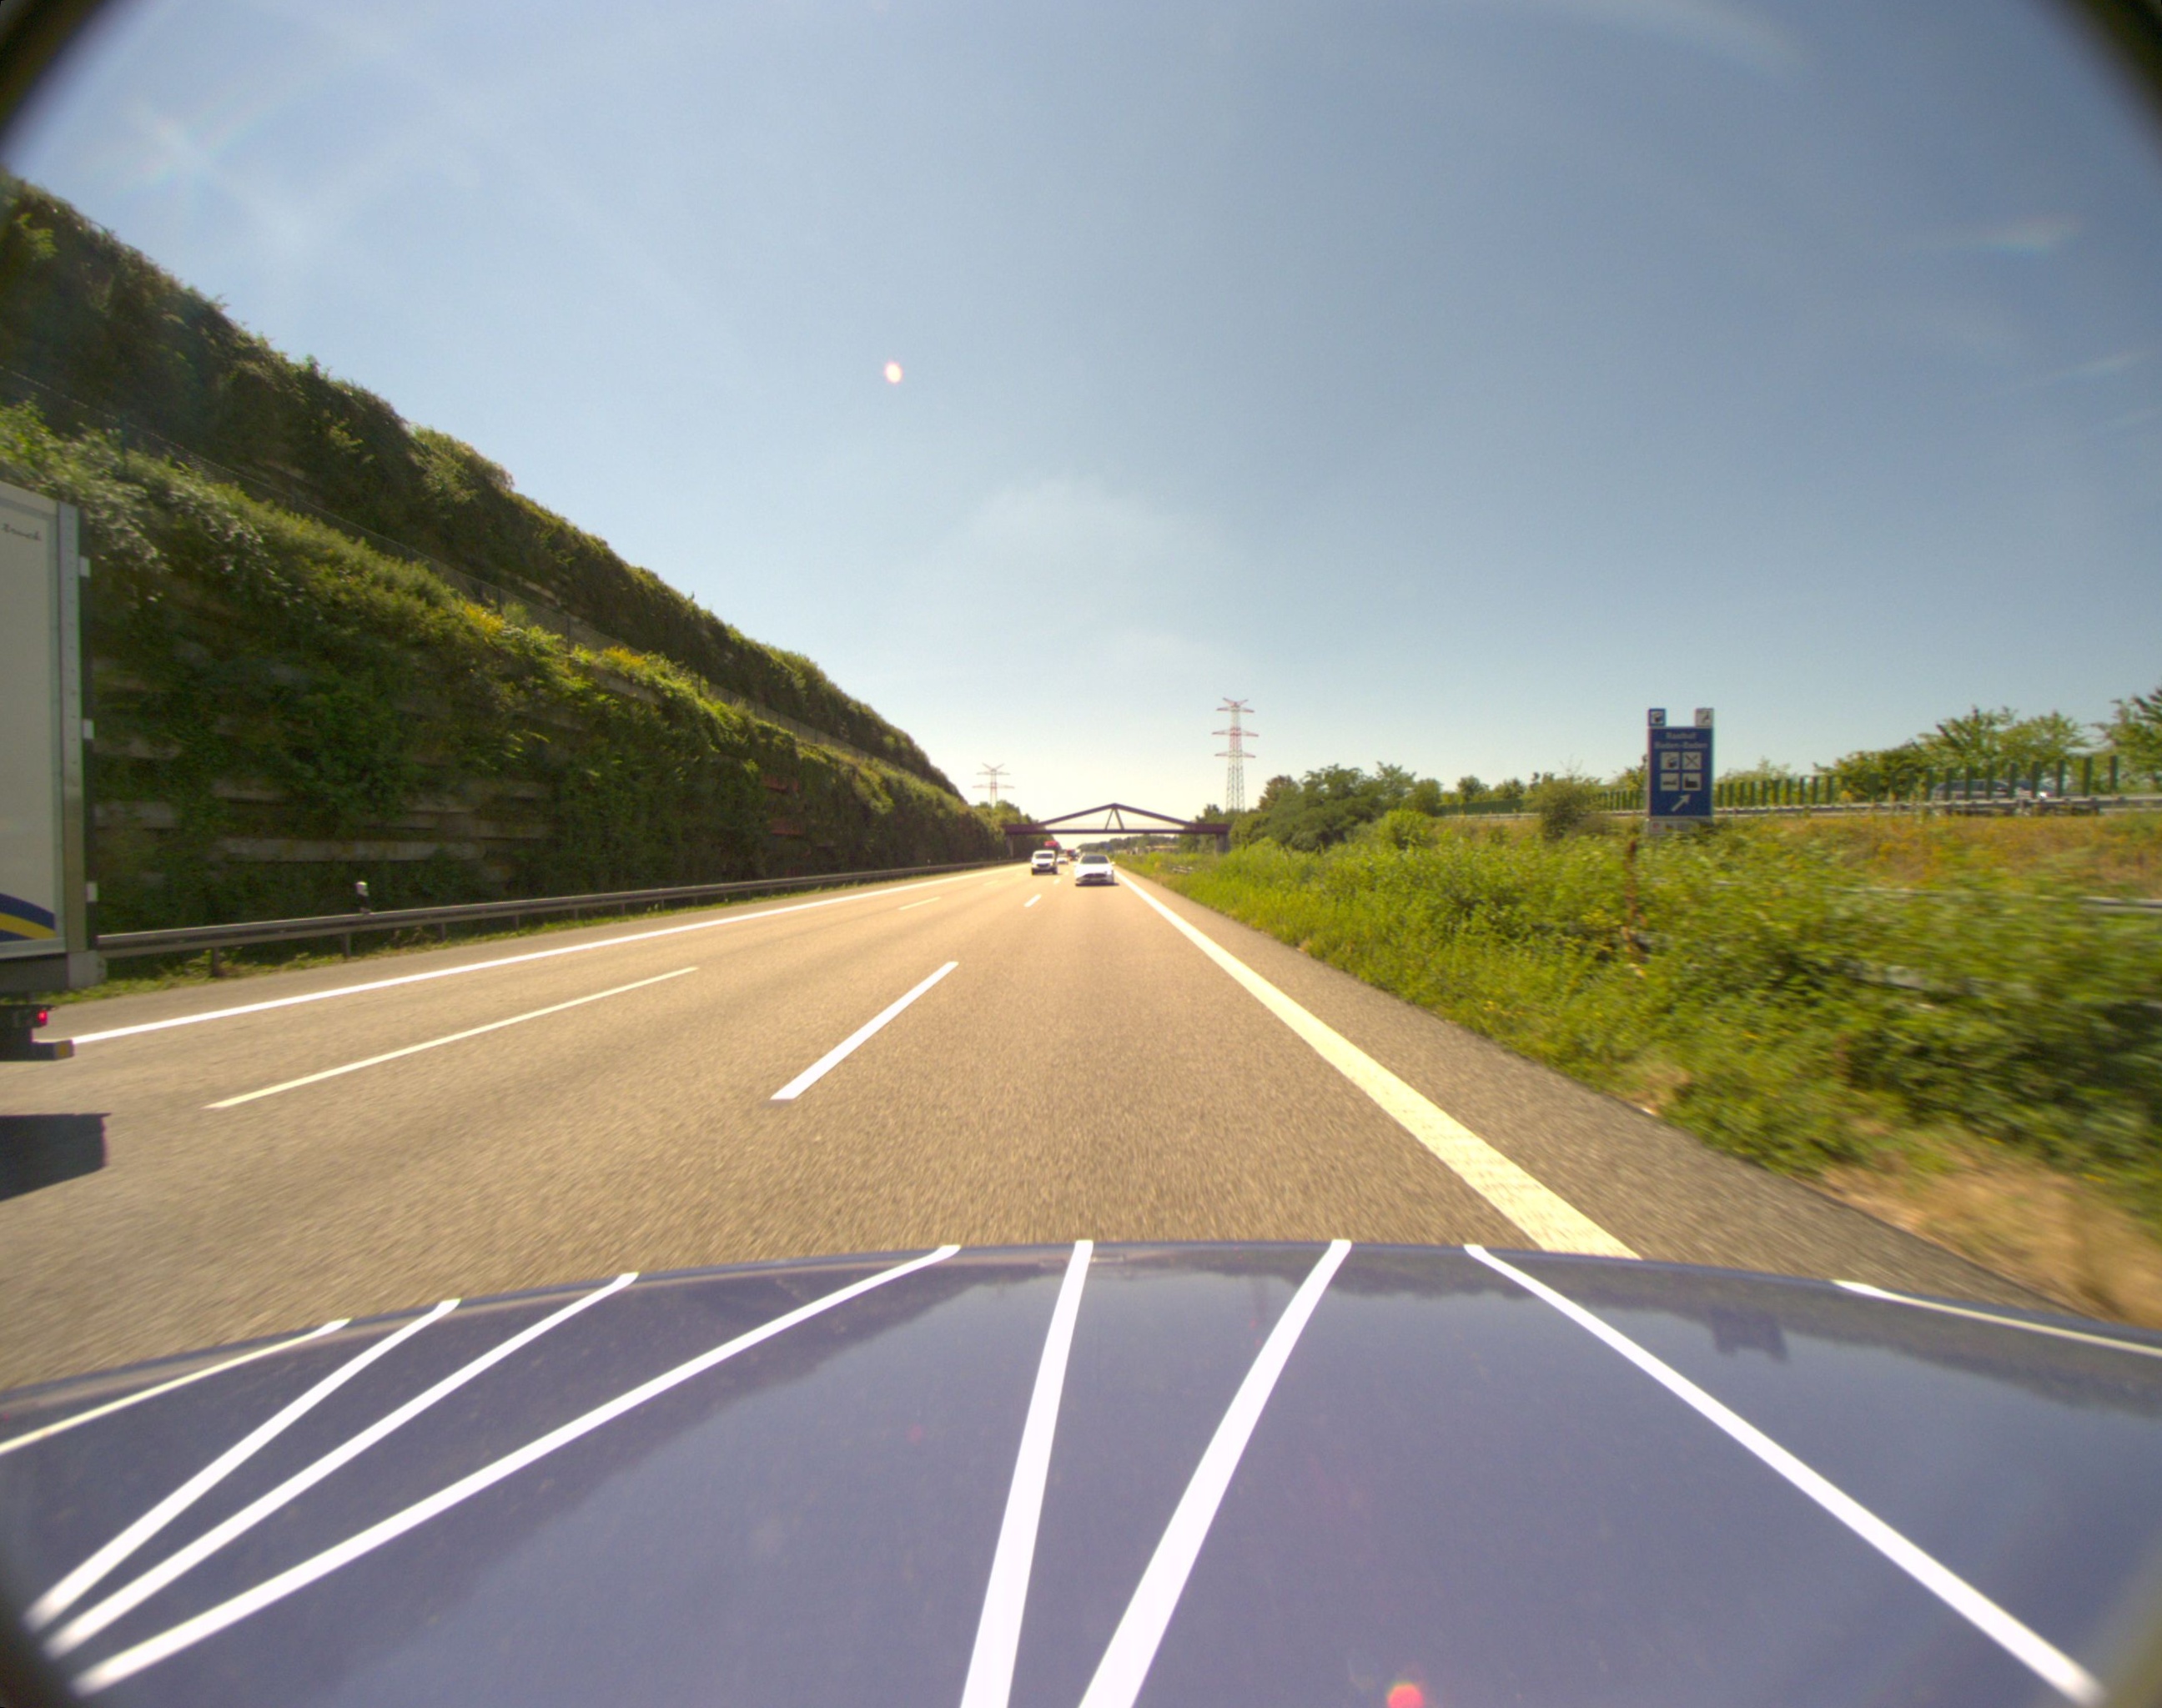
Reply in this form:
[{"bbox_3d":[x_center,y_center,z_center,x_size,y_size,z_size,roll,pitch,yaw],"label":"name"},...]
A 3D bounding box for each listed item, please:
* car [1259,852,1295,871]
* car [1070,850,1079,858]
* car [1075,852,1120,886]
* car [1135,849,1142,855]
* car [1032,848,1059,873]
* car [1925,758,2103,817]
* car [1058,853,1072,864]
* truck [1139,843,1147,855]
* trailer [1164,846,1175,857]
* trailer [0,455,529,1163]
[{"bbox_3d":[18.078,0.655,70.383,1.836,1.673,5.497,0,0,-1],"label":"car"},{"bbox_3d":[-1.257,-0.029,152.583,1.784,1.475,3.999,0,0,0],"label":"car"},{"bbox_3d":[0.731,0.681,36.342,1.998,1.474,4.108,-1,0,0],"label":"car"},{"bbox_3d":[17.338,-0.649,230.457,1.892,1.833,3.999,0,0,0],"label":"car"},{"bbox_3d":[-2.649,0.449,57.824,1.784,1.783,3.999,-1,0,0],"label":"car"},{"bbox_3d":[33.277,-2.307,27.301,1.725,1.783,4.001,-2,1,7],"label":"car"},{"bbox_3d":[-2.243,0.672,107.470,1.784,1.475,3.999,-1,0,0],"label":"car"},{"bbox_3d":[21.442,-1.612,262.548,2.443,4.203,5.594,0,1,-1],"label":"truck"},{"bbox_3d":[20.709,-0.651,178.110,1.998,2.504,4.183,0,1,0],"label":"trailer"},{"bbox_3d":[-7.732,-0.236,0.127,2.521,4.187,17.027,-1,0,1],"label":"trailer"}]
